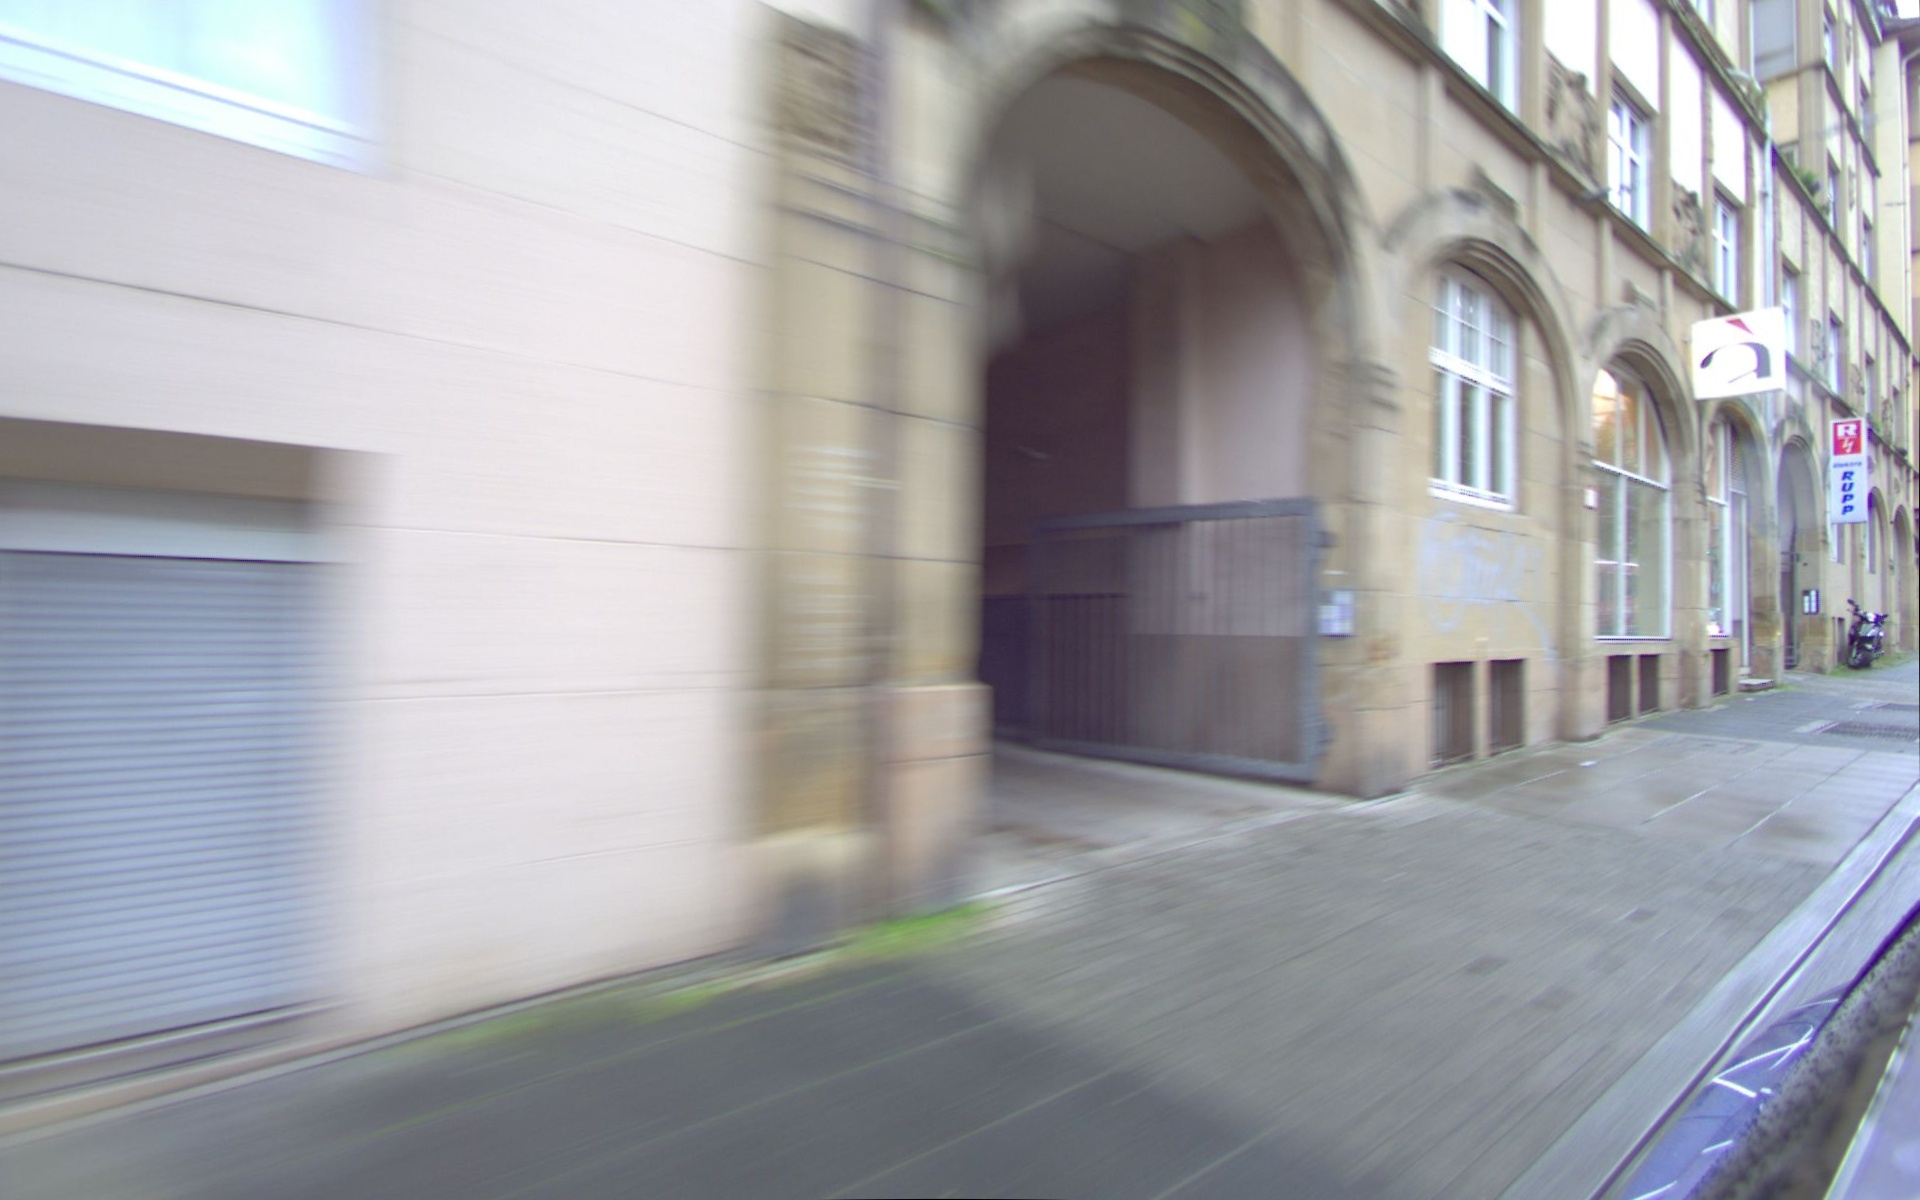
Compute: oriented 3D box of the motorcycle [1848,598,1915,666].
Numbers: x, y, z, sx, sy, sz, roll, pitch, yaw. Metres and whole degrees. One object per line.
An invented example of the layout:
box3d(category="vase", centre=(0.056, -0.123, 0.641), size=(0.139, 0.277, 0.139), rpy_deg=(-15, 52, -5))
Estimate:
box3d(category="motorcycle", centre=(18.660, 0.626, 20.489), size=(1.747, 1.252, 0.692), rpy_deg=(0, 5, -41))
